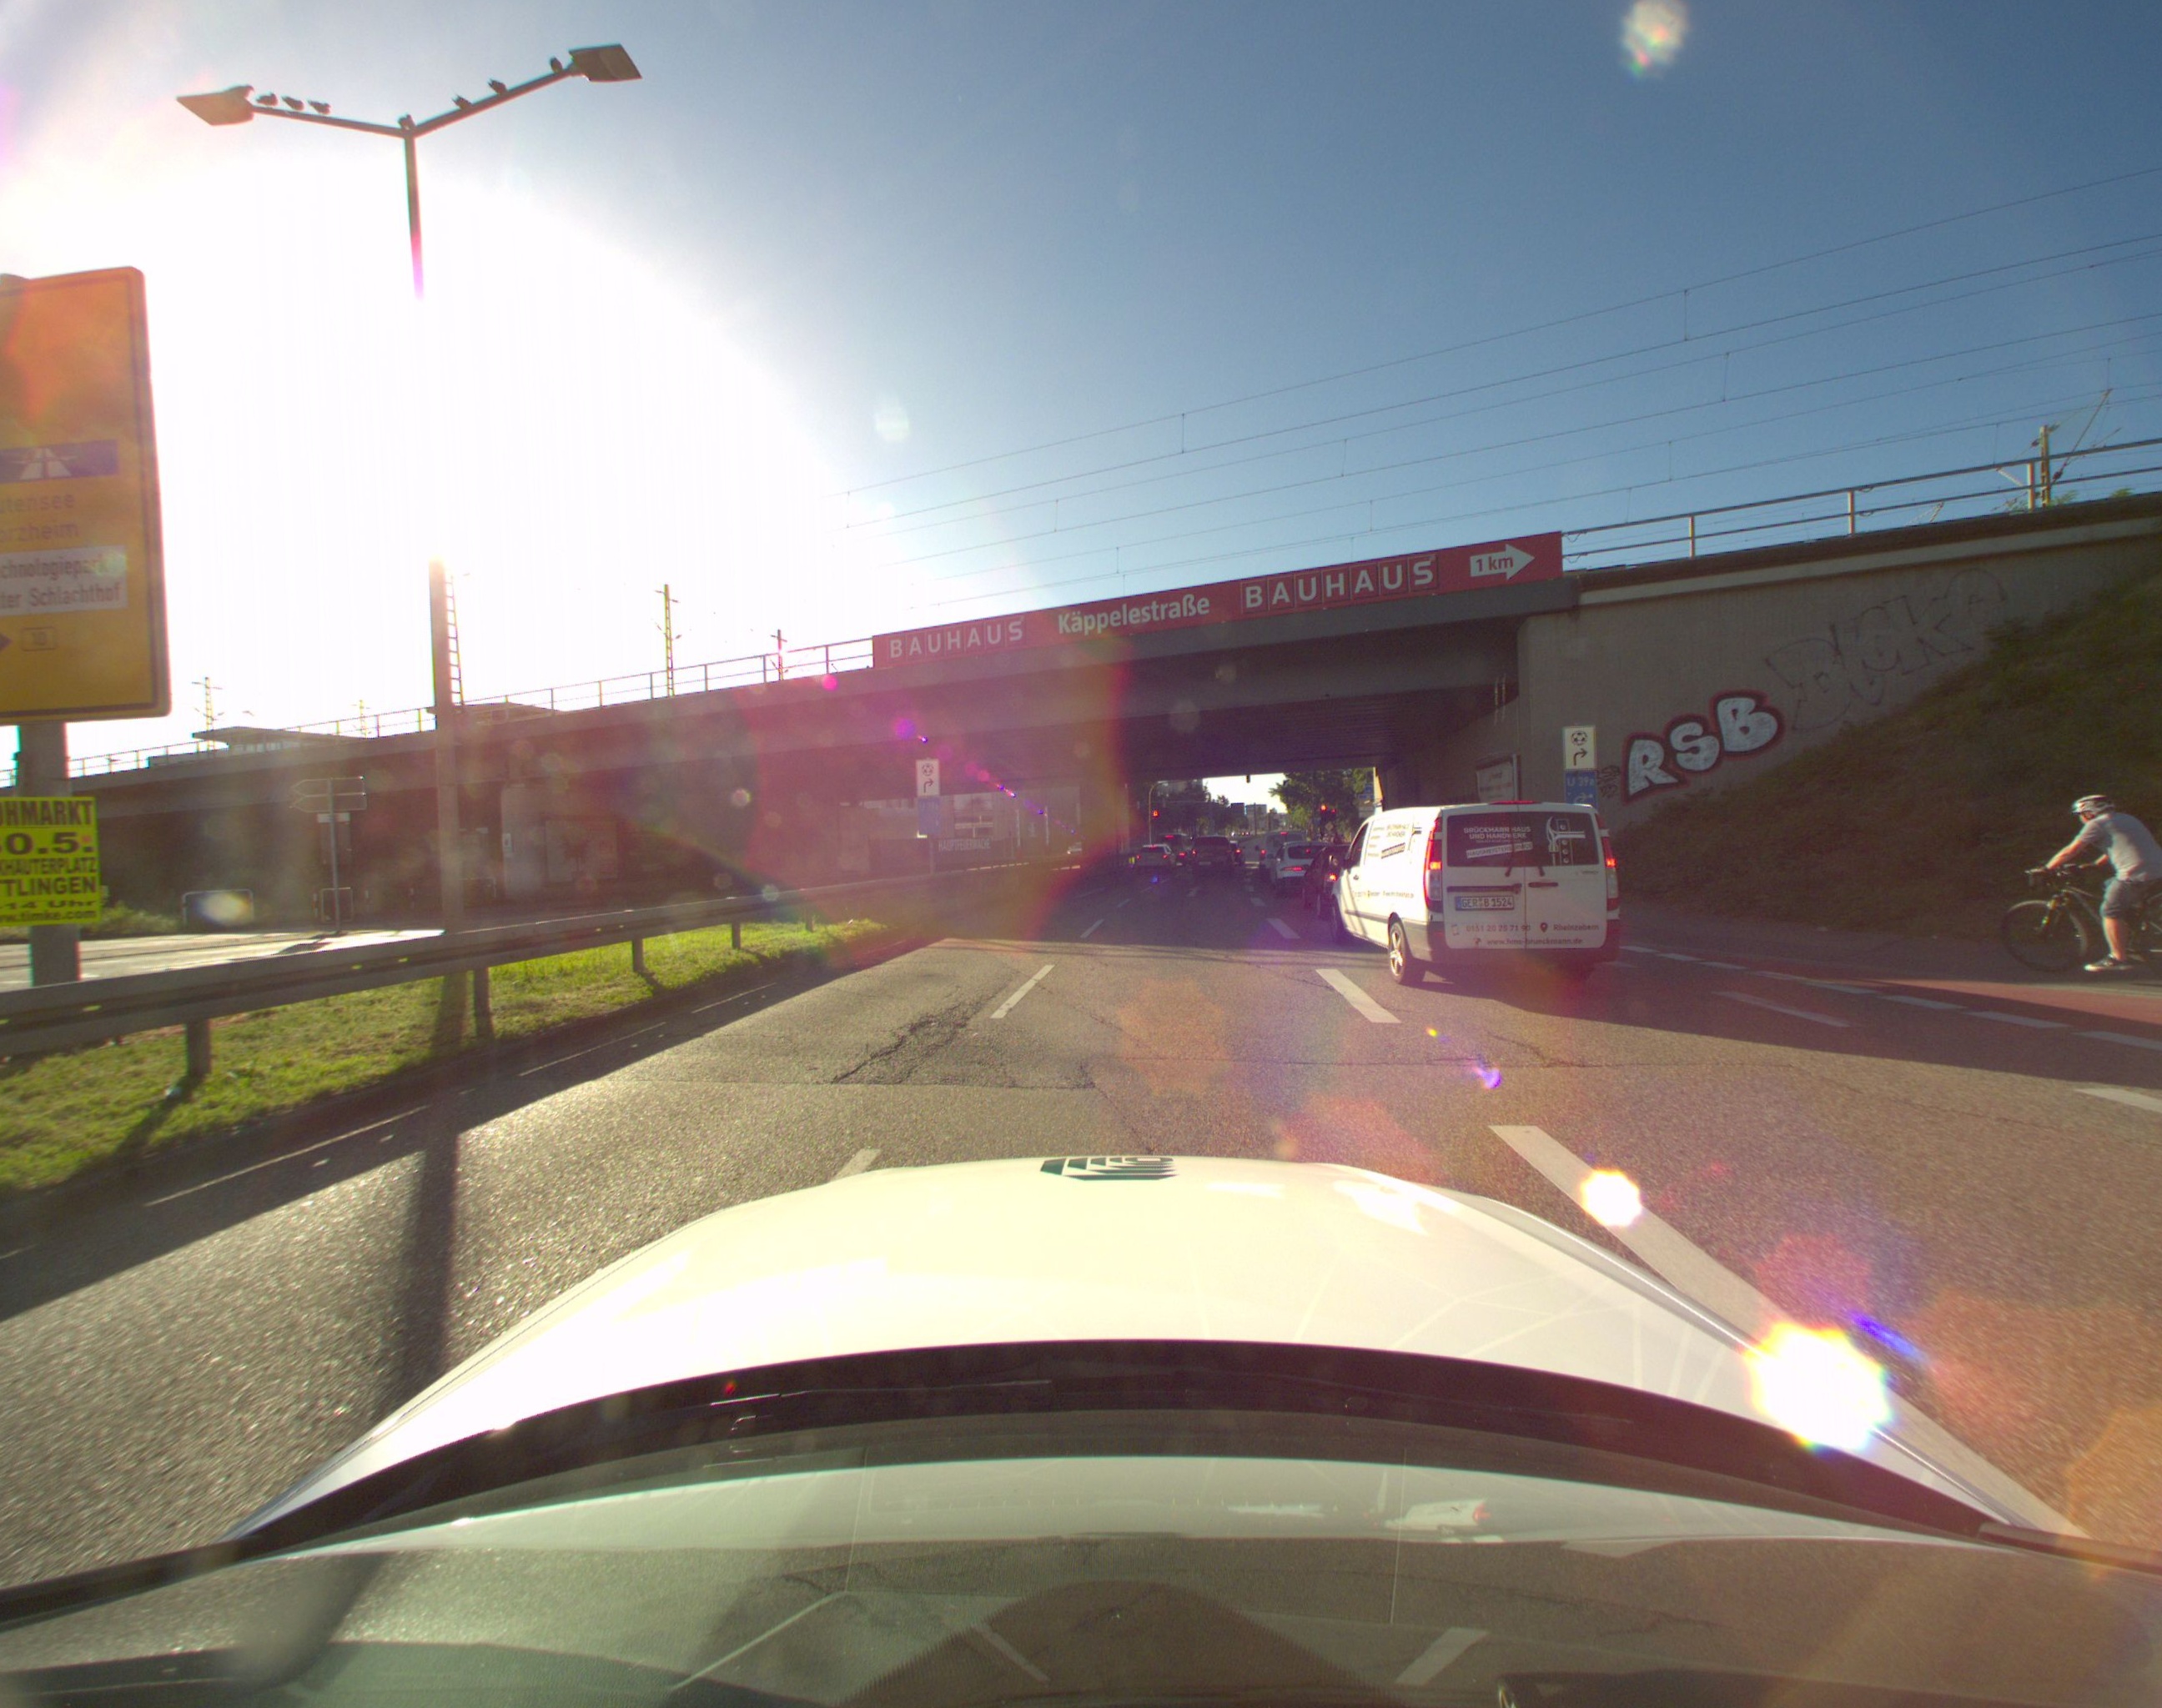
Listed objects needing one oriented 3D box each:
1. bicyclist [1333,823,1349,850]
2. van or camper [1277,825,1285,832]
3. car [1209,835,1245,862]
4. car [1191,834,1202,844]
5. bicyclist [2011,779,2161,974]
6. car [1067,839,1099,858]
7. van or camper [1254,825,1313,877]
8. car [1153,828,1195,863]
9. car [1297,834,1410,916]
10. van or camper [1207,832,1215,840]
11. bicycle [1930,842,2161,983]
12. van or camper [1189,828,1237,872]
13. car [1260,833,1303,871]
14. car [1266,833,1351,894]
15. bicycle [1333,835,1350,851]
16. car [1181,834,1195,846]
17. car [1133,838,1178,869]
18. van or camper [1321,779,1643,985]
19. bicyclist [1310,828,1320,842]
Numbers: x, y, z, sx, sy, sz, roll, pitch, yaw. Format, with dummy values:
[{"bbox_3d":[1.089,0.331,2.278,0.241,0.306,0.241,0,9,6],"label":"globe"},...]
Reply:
[{"bbox_3d":[15.927,-1.070,49.813,0.746,1.584,0.929,-4,0,13],"label":"bicyclist"},{"bbox_3d":[57.279,-7.184,233.157,1.770,1.863,3.928,-4,0,20],"label":"van or camper"},{"bbox_3d":[8.759,-0.368,48.643,1.750,1.475,4.306,-3,0,14],"label":"car"},{"bbox_3d":[24.075,-3.155,170.108,1.772,1.863,3.924,-4,0,14],"label":"car"},{"bbox_3d":[9.312,0.165,7.360,0.744,1.618,0.912,-4,2,-2],"label":"bicyclist"},{"bbox_3d":[0.210,-0.506,71.802,1.769,1.645,4.219,-1,1,15],"label":"car"},{"bbox_3d":[7.502,-0.134,30.528,1.814,1.791,4.558,-1,1,10],"label":"van or camper"},{"bbox_3d":[5.658,-0.538,49.241,1.852,1.946,4.615,-2,1,14],"label":"car"},{"bbox_3d":[5.413,0.342,16.571,1.595,1.434,3.688,-1,1,9],"label":"car"},{"bbox_3d":[32.599,-4.593,204.469,1.773,1.863,3.922,-4,0,12],"label":"van or camper"},{"bbox_3d":[9.324,0.480,7.308,0.741,1.112,2.449,-4,1,-3],"label":"bicycle"},{"bbox_3d":[6.001,-0.200,36.747,1.741,1.813,3.975,-2,1,14],"label":"van or camper"},{"bbox_3d":[8.941,-0.124,36.223,1.695,1.522,3.758,-2,1,14],"label":"car"},{"bbox_3d":[6.238,0.215,22.754,1.753,1.475,4.300,-3,0,9],"label":"car"},{"bbox_3d":[15.895,-0.654,49.709,0.767,0.893,2.003,-4,0,12],"label":"bicycle"},{"bbox_3d":[19.172,-2.530,145.613,1.772,1.863,3.961,-4,0,14],"label":"car"},{"bbox_3d":[3.882,-0.057,41.878,1.695,1.452,3.758,-2,1,14],"label":"car"},{"bbox_3d":[4.413,0.240,9.972,1.948,1.883,4.888,-1,1,6],"label":"van or camper"},{"bbox_3d":[27.788,-2.306,96.746,0.915,1.584,0.773,-4,0,18],"label":"bicyclist"}]
